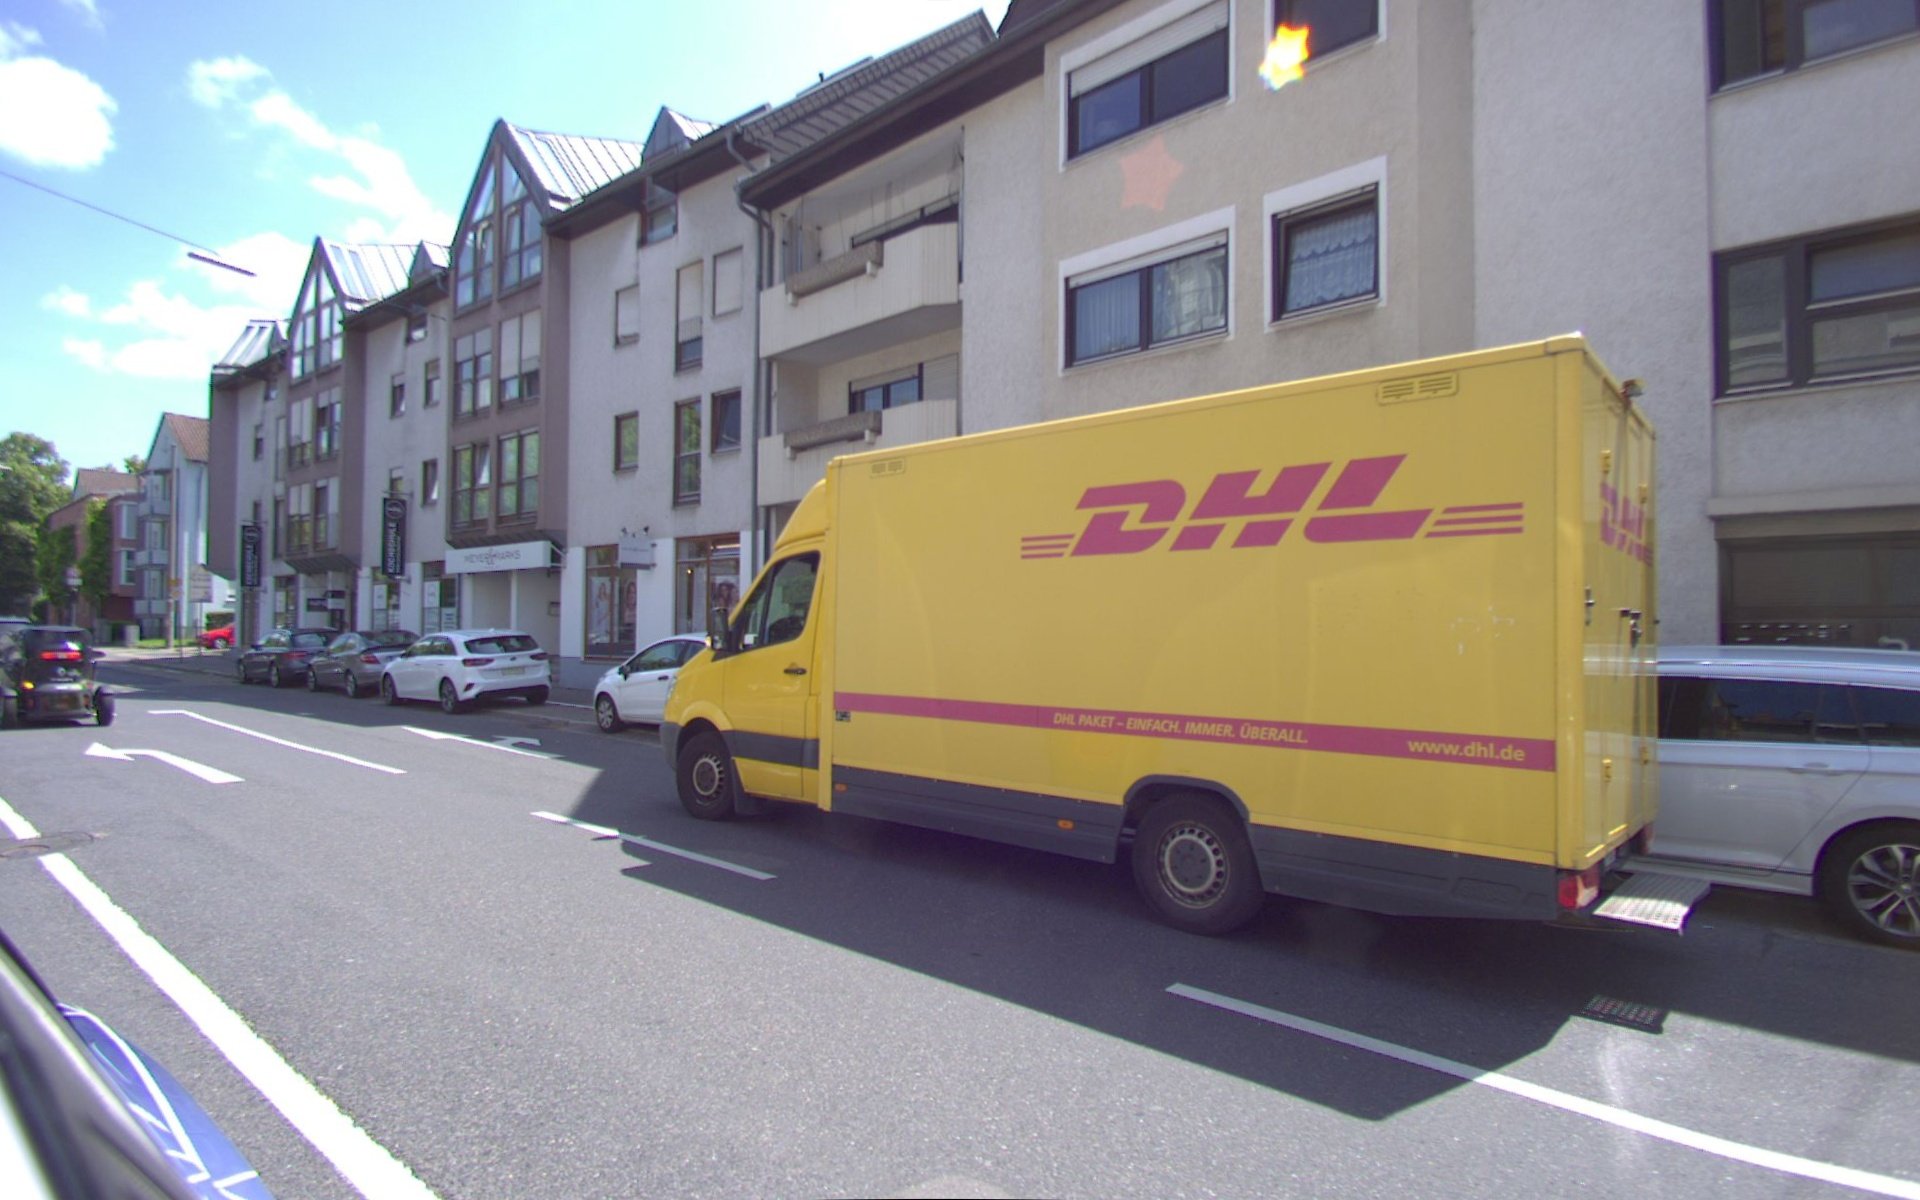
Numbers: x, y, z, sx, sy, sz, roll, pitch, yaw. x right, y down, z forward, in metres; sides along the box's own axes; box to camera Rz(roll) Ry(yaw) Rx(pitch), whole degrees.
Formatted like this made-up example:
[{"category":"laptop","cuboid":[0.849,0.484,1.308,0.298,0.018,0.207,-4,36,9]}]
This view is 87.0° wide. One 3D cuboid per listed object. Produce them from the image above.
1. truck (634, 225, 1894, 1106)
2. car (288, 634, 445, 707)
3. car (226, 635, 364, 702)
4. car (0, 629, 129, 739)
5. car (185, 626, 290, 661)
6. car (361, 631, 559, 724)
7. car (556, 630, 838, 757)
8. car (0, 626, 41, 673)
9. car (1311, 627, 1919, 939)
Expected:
[{"category":"truck","cuboid":[0.882,0.305,6.595,7.563,2.792,2.201,-1,-4,43]},{"category":"car","cuboid":[-13.535,1.532,22.986,4.325,1.394,1.820,-1,0,41]},{"category":"car","cuboid":[-17.330,1.699,26.266,4.968,1.458,1.820,-1,0,42]},{"category":"car","cuboid":[-13.563,1.161,14.834,2.717,1.470,1.483,-1,-3,36]},{"category":"car","cuboid":[-36.195,2.150,50.786,1.731,1.463,3.948,-3,0,39]},{"category":"car","cuboid":[-9.673,1.382,19.441,4.383,1.500,1.821,-1,0,40]},{"category":"car","cuboid":[-3.945,1.232,14.769,4.384,1.500,1.821,-1,0,41]},{"category":"car","cuboid":[-34.550,1.764,36.212,4.437,1.633,1.794,-2,-4,40]},{"category":"car","cuboid":[4.733,0.960,6.410,4.385,1.499,1.820,-1,0,42]}]
